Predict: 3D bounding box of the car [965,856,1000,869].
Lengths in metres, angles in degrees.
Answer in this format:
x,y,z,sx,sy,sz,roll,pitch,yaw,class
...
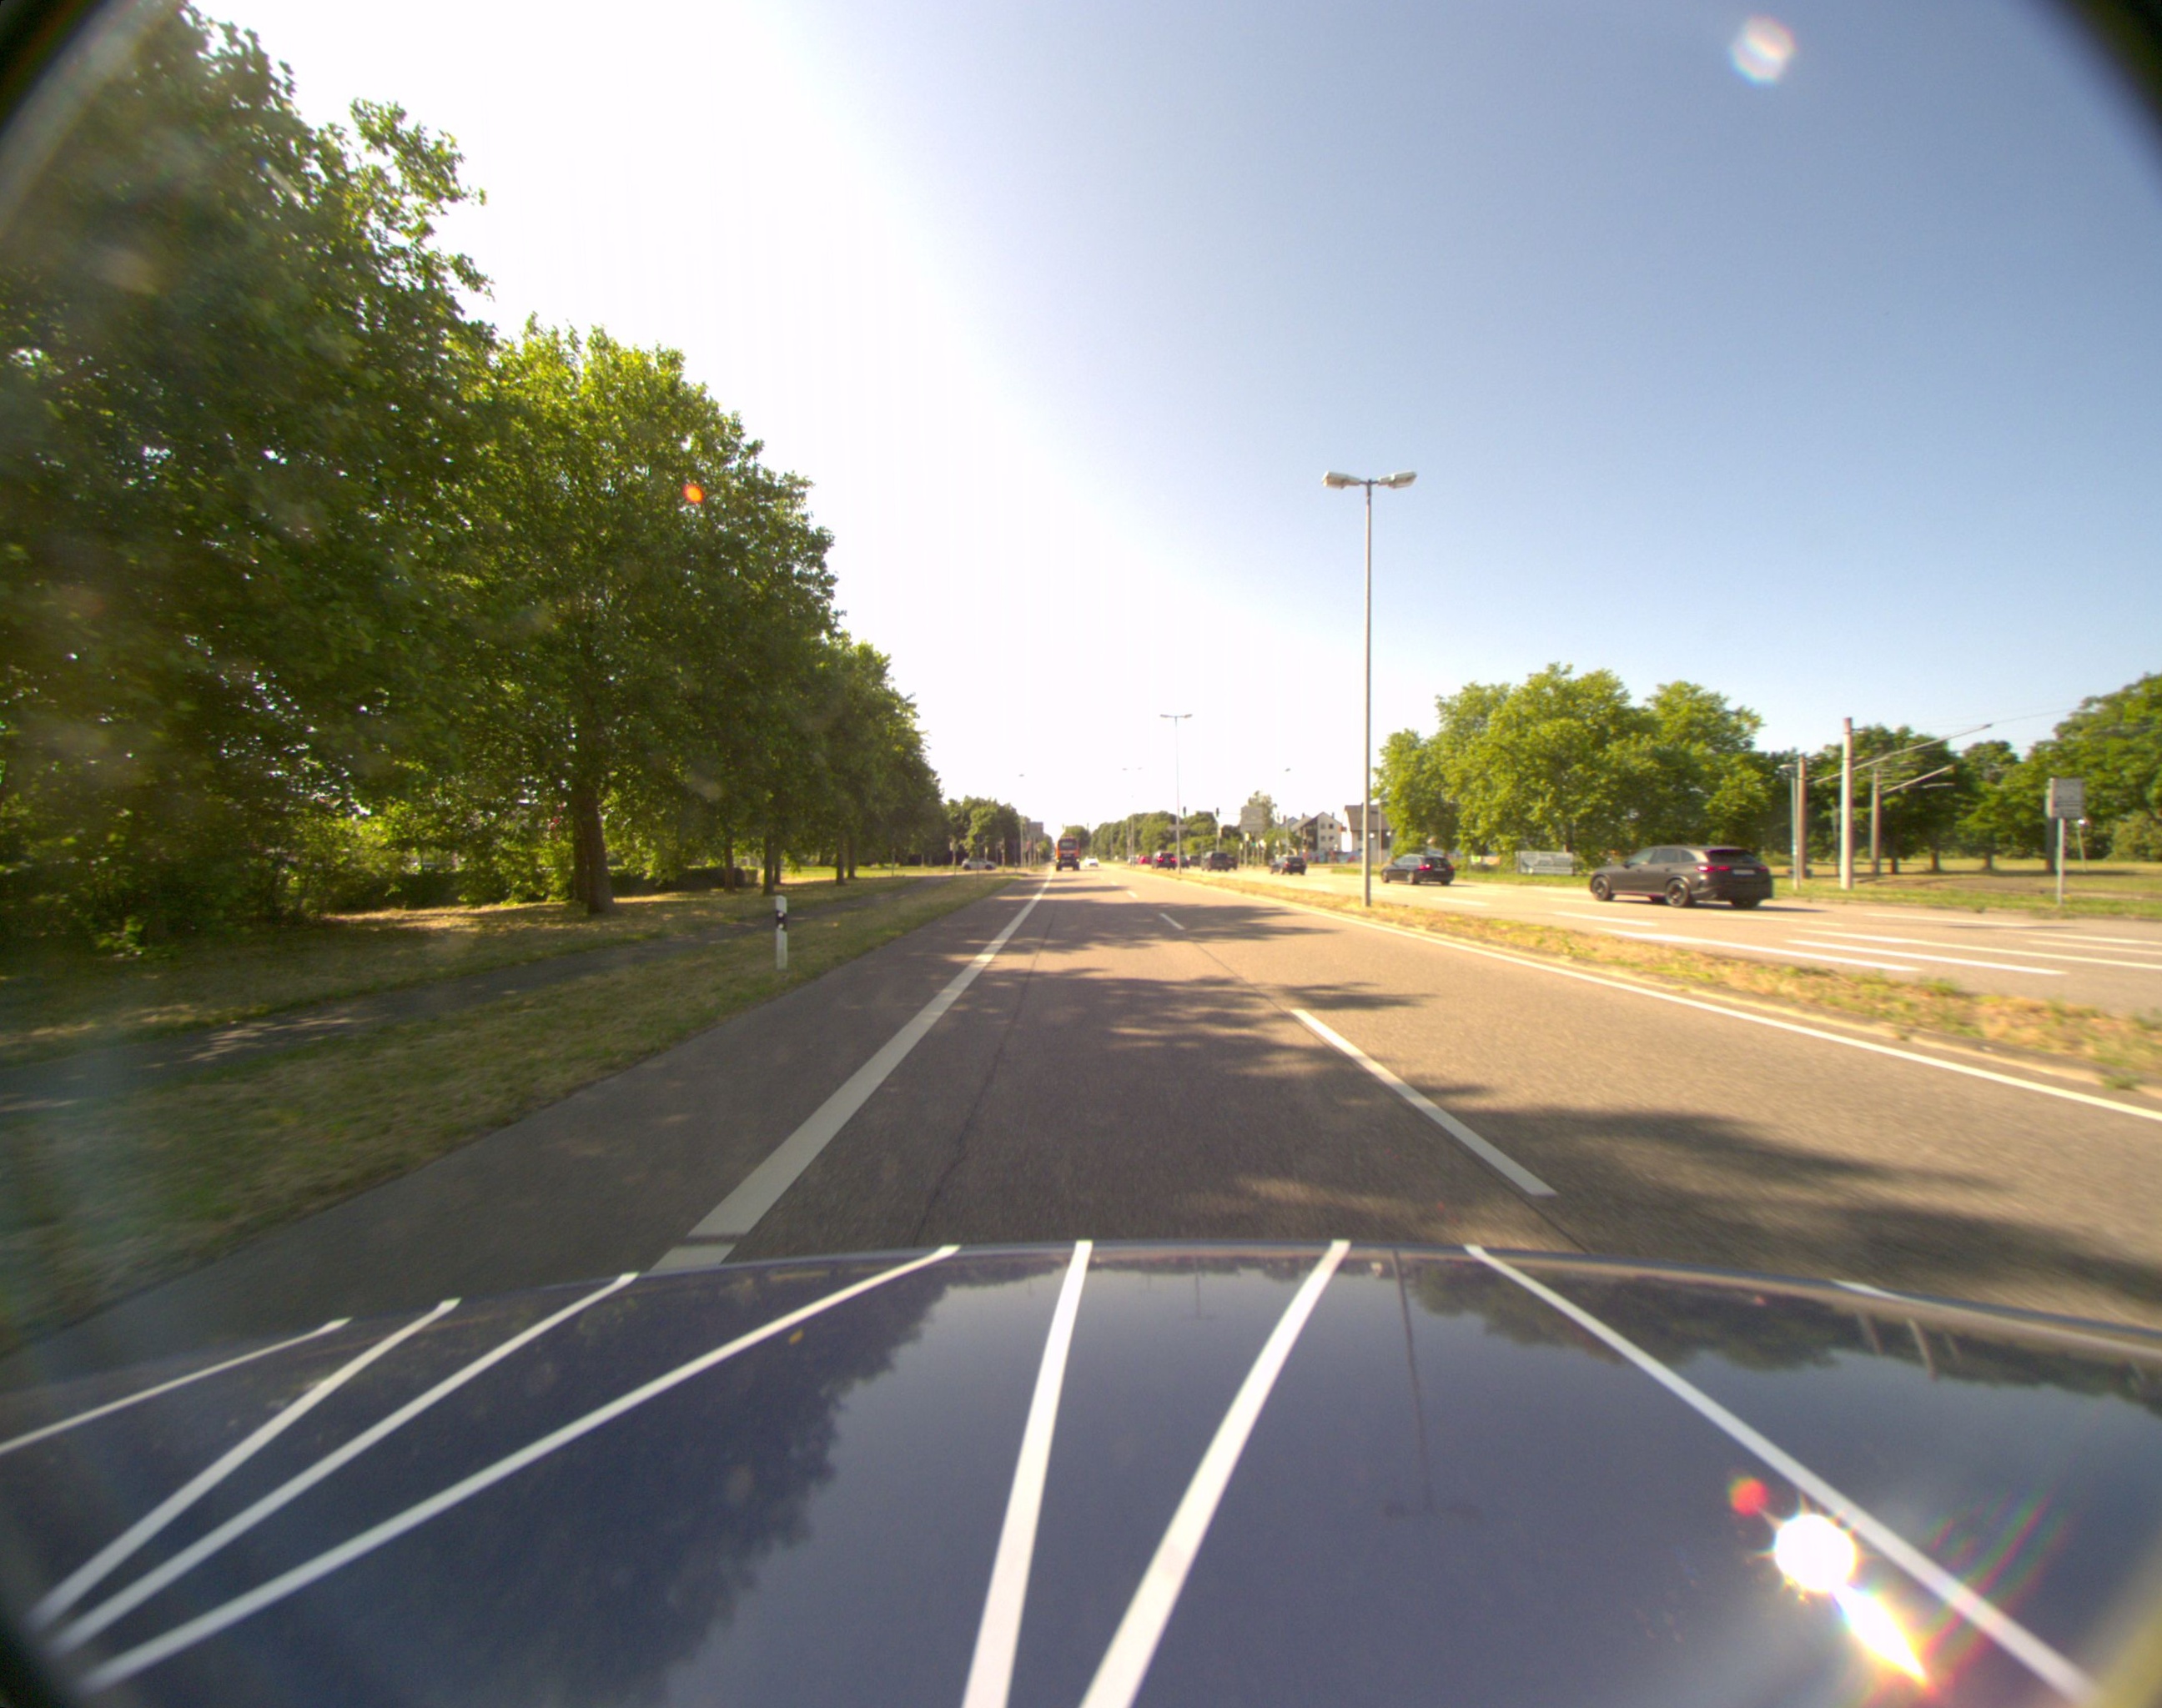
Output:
x,y,z,sx,sy,sz,roll,pitch,yaw,class
-11.963,1.024,92.302,4.062,1.555,1.742,-1,0,-2,car

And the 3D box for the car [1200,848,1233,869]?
x,y,z,sx,sy,sz,roll,pitch,yaw,class
11.972,0.377,67.366,1.987,1.769,4.488,1,0,-2,car

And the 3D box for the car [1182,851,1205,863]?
x,y,z,sx,sy,sz,roll,pitch,yaw,class
14.519,0.372,98.081,2.077,1.613,4.488,0,0,-2,car

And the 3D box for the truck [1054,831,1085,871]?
x,y,z,sx,sy,sz,roll,pitch,yaw,class
-1.201,-0.338,79.504,2.941,3.852,6.589,-2,1,-2,truck

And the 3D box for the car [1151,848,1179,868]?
x,y,z,sx,sy,sz,roll,pitch,yaw,class
7.912,0.353,72.184,1.986,1.740,4.507,1,0,-2,car

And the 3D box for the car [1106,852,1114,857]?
x,y,z,sx,sy,sz,roll,pitch,yaw,class
7.451,0.116,195.104,1.986,1.449,4.332,-1,0,0,car

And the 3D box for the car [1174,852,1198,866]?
x,y,z,sx,sy,sz,roll,pitch,yaw,class
11.399,0.495,82.645,1.986,1.449,4.449,1,0,0,car

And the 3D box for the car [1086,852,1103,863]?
x,y,z,sx,sy,sz,roll,pitch,yaw,class
1.774,0.483,102.100,1.869,1.499,4.336,0,-1,-4,car

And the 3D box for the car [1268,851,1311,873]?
x,y,z,sx,sy,sz,roll,pitch,yaw,class
15.364,0.577,56.288,1.867,1.536,4.405,0,0,-2,car

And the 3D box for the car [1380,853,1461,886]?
x,y,z,sx,sy,sz,roll,pitch,yaw,class
16.133,0.680,36.387,1.836,1.457,4.468,-1,0,-1,car

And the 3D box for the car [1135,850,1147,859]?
x,y,z,sx,sy,sz,roll,pitch,yaw,class
12.145,0.115,153.591,1.709,1.759,4.227,0,0,-5,car

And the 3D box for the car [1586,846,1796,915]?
x,y,z,sx,sy,sz,roll,pitch,yaw,class
16.271,0.635,20.655,1.987,1.650,4.554,0,0,-1,car
